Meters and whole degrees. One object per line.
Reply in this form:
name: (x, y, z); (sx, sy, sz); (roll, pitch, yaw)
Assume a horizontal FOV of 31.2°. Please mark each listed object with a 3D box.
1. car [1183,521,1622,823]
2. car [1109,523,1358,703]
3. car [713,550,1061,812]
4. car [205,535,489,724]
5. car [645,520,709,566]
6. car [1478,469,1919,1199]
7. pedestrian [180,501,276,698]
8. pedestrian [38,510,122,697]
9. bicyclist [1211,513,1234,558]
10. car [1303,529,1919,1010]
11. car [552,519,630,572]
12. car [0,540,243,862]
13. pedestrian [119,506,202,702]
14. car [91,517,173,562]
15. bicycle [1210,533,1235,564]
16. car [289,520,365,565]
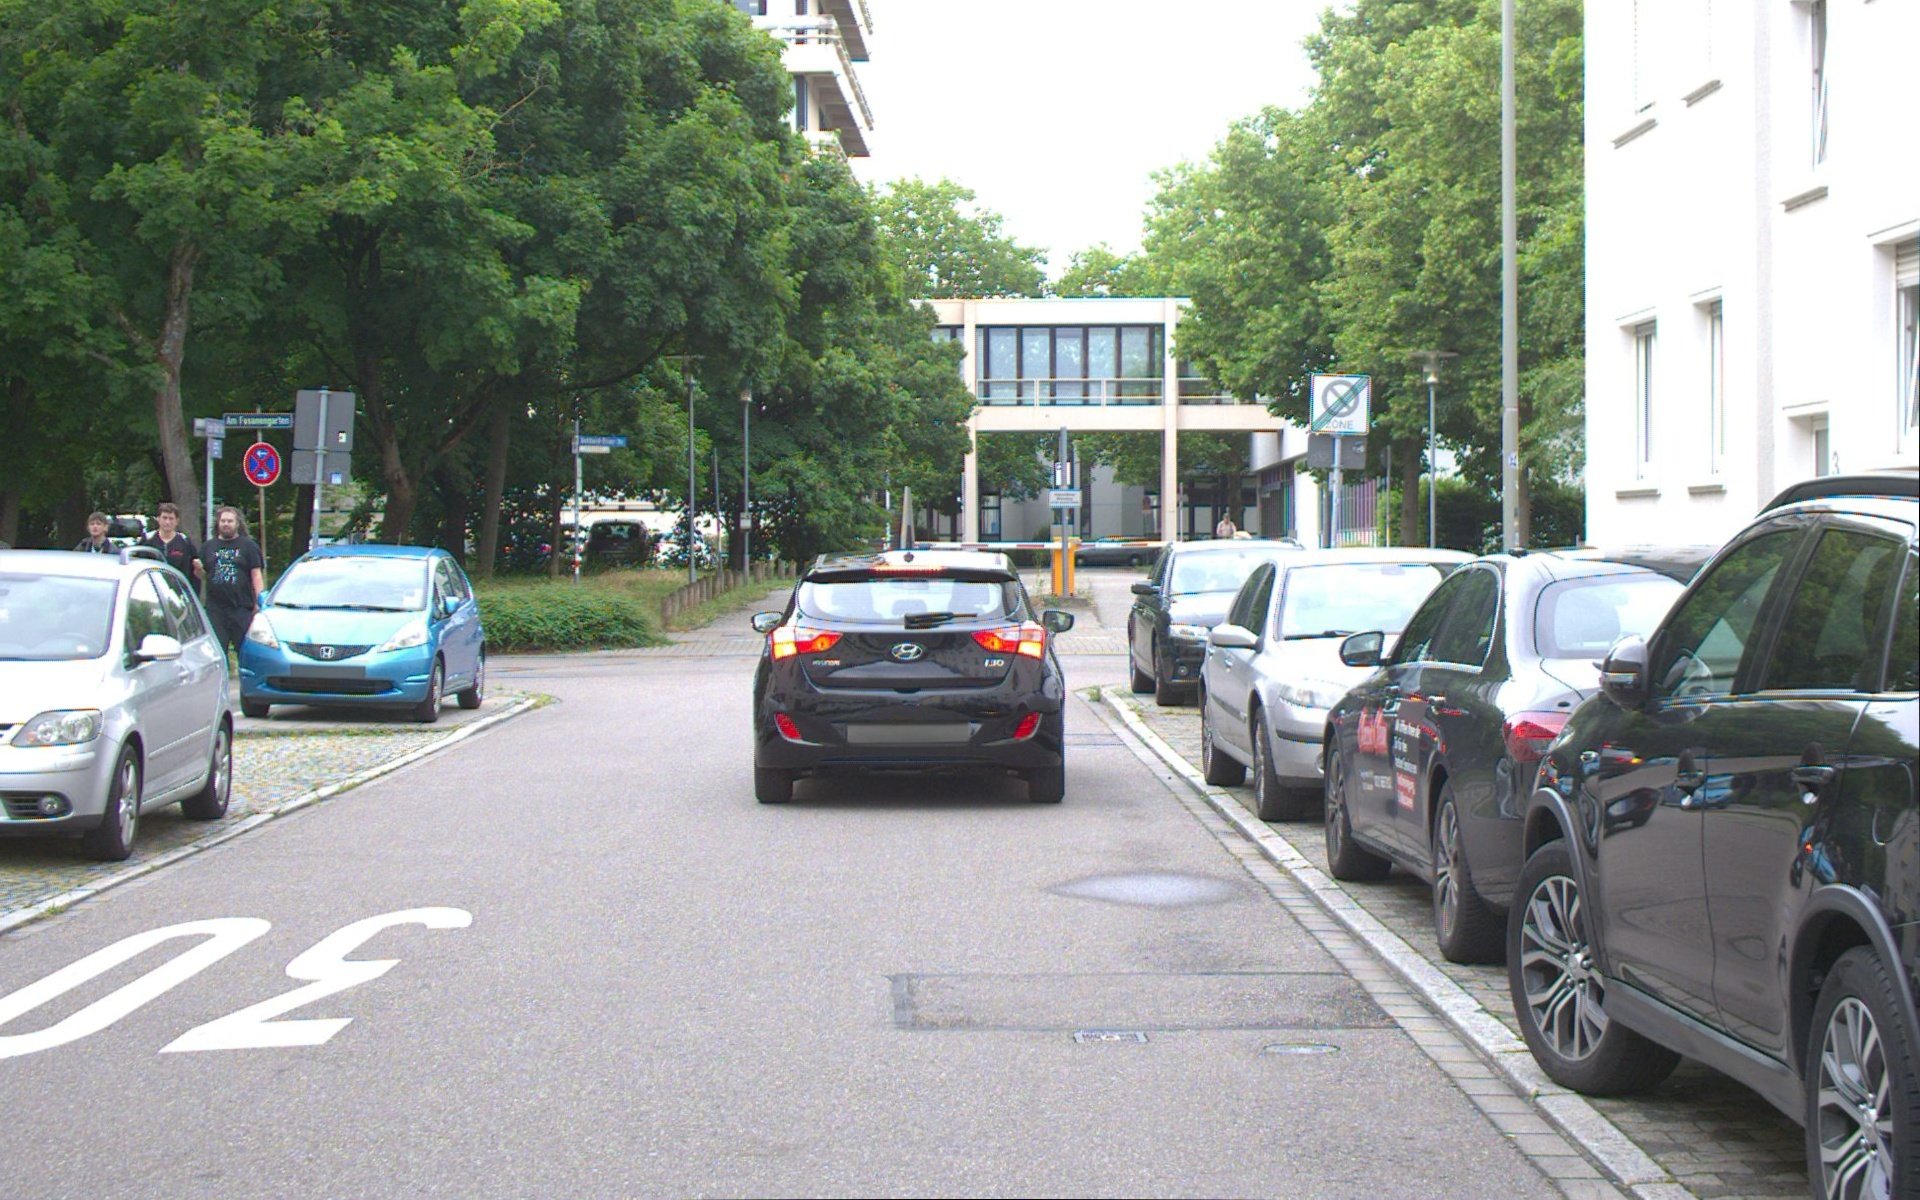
car: (2.371, 0.317, 19.573); (1.820, 1.514, 4.674); (0, 1, -1)
car: (2.411, 0.057, 31.346); (1.820, 1.514, 4.674); (0, 1, -1)
car: (-0.393, 0.415, 20.967); (1.903, 1.428, 4.233); (0, 1, 0)
car: (-5.429, 0.210, 30.912); (1.993, 1.535, 4.001); (1, 1, -3)
car: (-8.437, -1.713, 102.618); (1.665, 1.328, 3.396); (0, 1, 0)
car: (2.465, 0.539, 7.889); (1.820, 1.597, 4.091); (0, 1, -2)
pedestrian: (-6.856, -0.015, 32.233); (0.714, 1.825, 0.797); (0, 1, 1)
pedestrian: (-8.111, 0.026, 31.699); (0.600, 1.707, 0.648); (0, 1, 1)
bicyclist: (8.610, -2.115, 112.608); (0.693, 1.439, 0.795); (0, 1, 1)
car: (2.502, 0.491, 13.161); (1.820, 1.514, 4.674); (0, 1, -1)
car: (-9.555, -1.421, 89.184); (1.665, 1.328, 3.396); (0, 1, 0)
car: (-5.260, 0.452, 18.661); (1.993, 1.536, 4.000); (1, 1, -2)
pedestrian: (-7.543, 0.030, 32.454); (0.605, 1.825, 0.675); (0, 1, 1)
car: (-24.821, -1.823, 103.094); (1.665, 1.328, 3.396); (0, 1, 0)
bicycle: (8.598, -1.694, 112.608); (0.693, 0.993, 1.735); (0, 1, 1)
car: (-18.893, -1.730, 102.749); (1.665, 1.328, 3.396); (0, 1, 0)
